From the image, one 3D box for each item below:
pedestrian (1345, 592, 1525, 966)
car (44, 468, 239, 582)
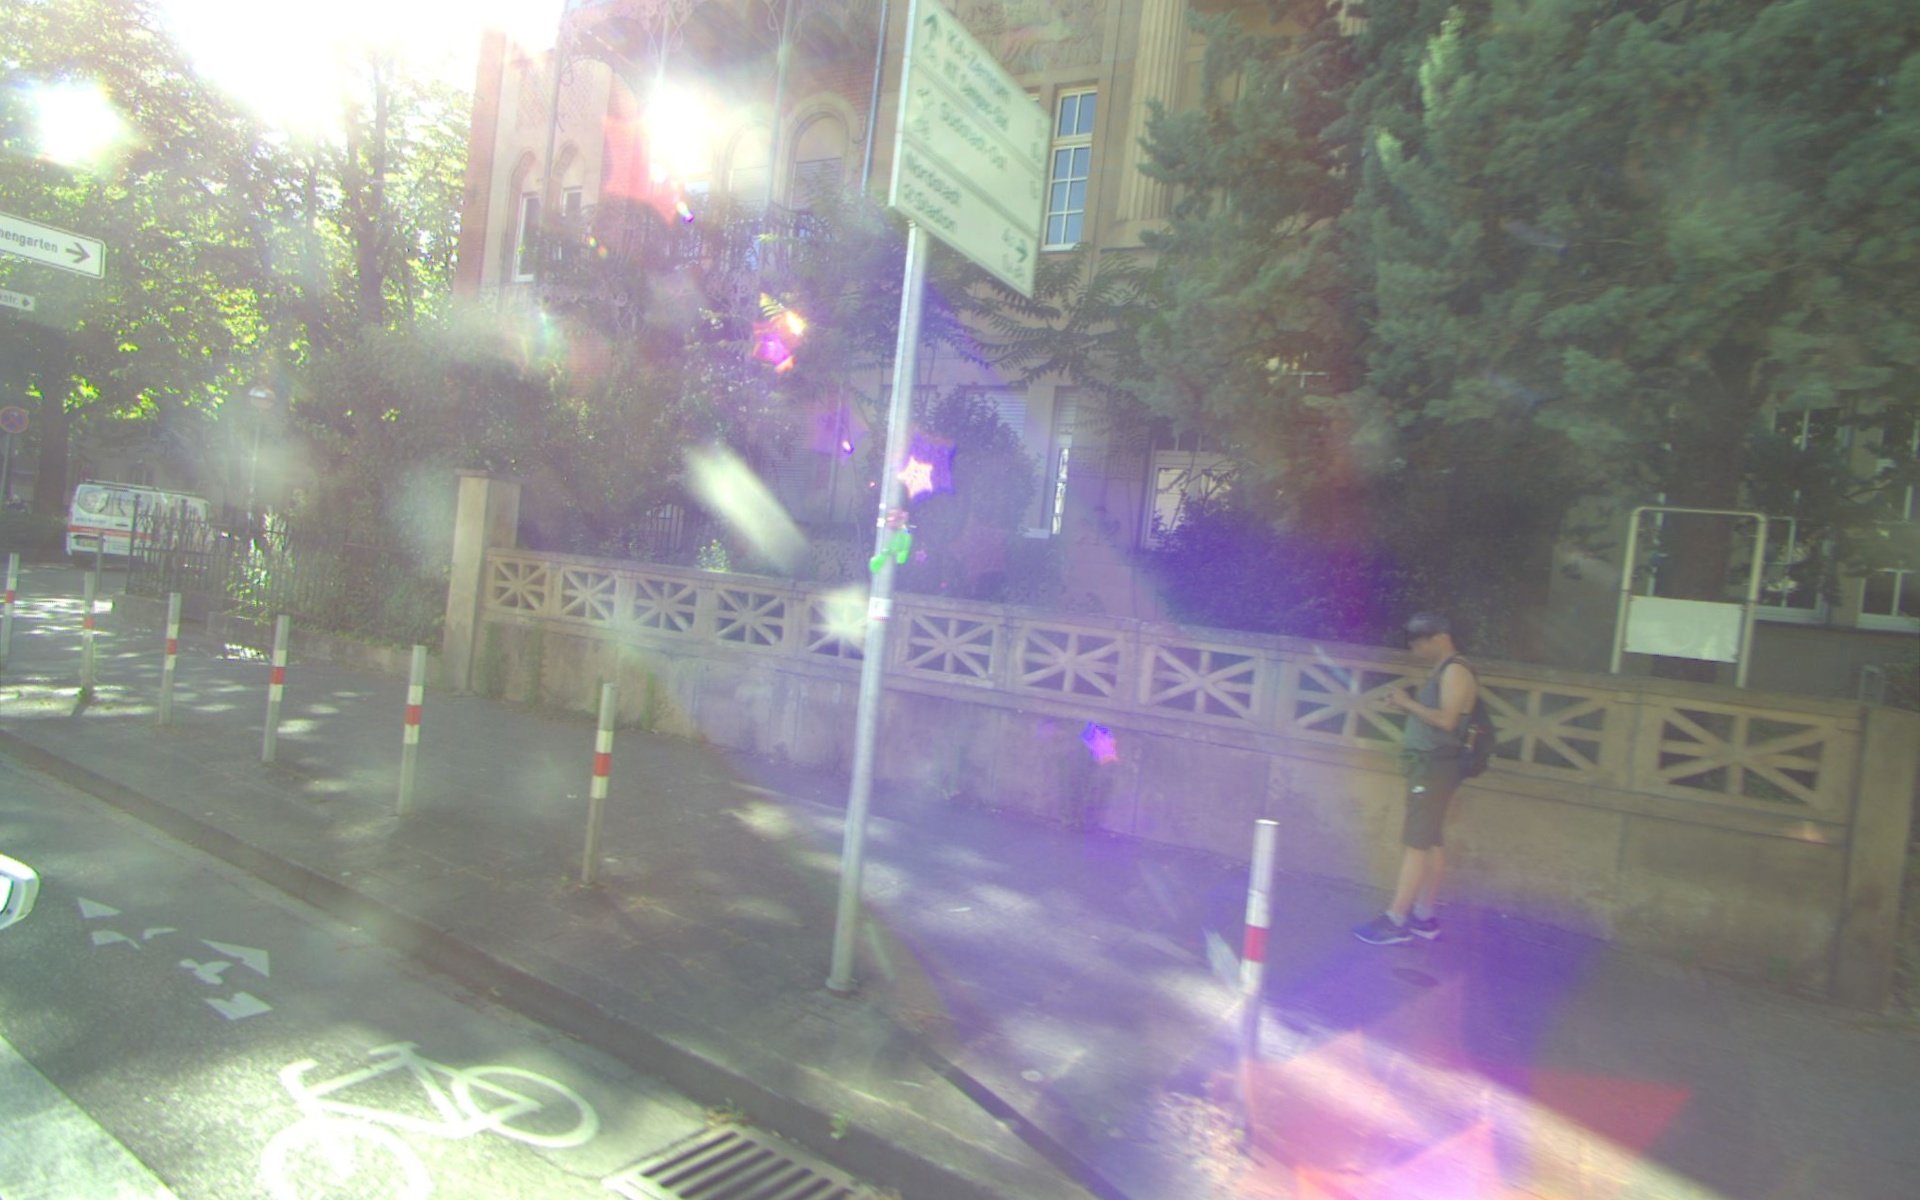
[{"bbox_3d":[2.394,0.842,5.067,0.636,1.693,0.592,6,2,29],"label":"pedestrian"},{"bbox_3d":[-20.195,-1.723,25.137,2.095,2.234,4.924,7,-2,-20],"label":"car"}]
